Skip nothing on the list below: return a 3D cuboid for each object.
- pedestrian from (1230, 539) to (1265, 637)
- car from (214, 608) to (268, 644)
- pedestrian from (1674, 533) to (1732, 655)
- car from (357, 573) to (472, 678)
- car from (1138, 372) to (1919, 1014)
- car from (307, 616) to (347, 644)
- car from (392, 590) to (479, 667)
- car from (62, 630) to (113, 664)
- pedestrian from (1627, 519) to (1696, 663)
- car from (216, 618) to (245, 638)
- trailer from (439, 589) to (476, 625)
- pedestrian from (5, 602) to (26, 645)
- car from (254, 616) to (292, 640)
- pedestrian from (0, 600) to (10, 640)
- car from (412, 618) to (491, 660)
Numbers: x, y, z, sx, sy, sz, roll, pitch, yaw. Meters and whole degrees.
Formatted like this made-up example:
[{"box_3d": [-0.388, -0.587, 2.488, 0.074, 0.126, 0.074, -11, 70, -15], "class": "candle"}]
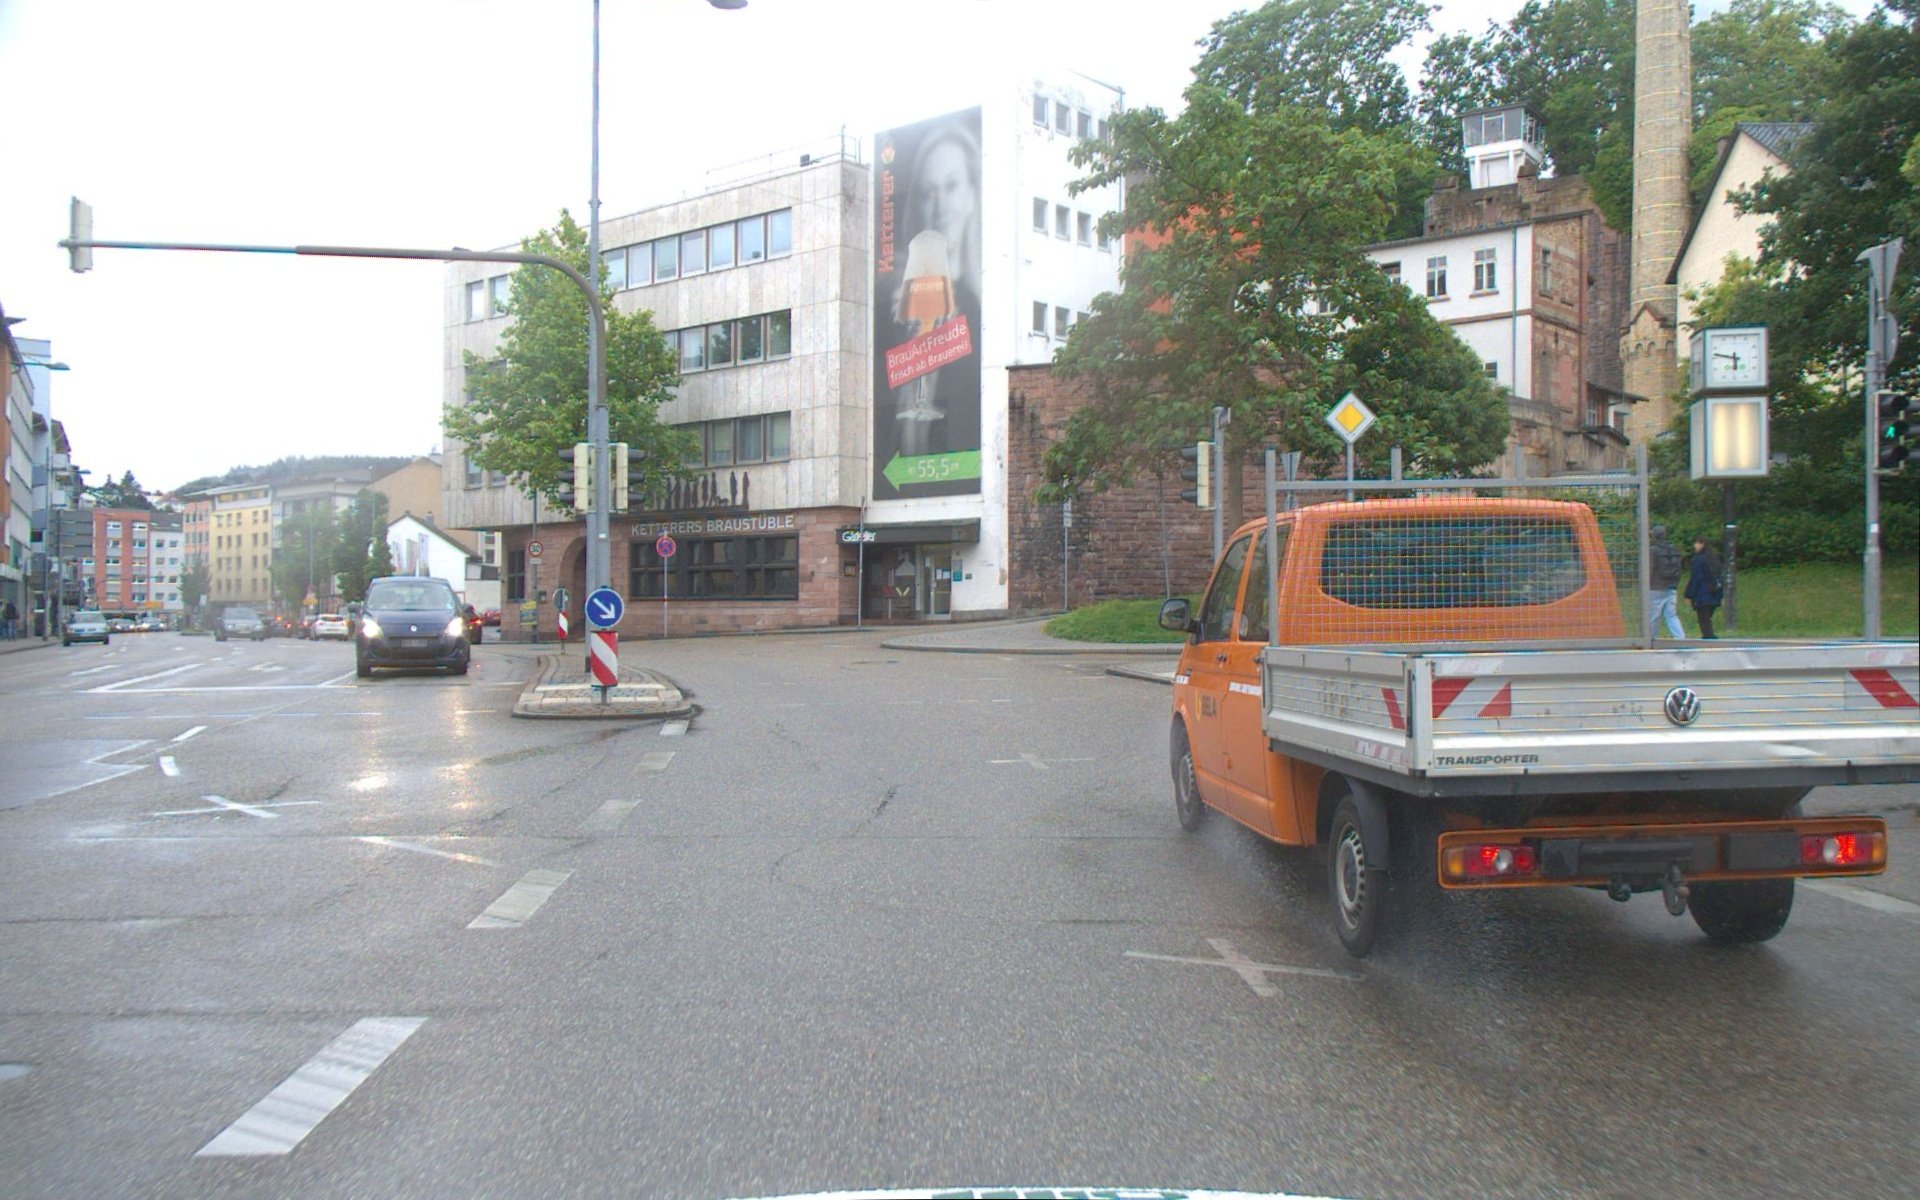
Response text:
[{"box_3d": [5.434, -0.211, 31.278, 0.584, 1.812, 0.657, 2, -2, 12], "class": "pedestrian"}, {"box_3d": [-31.153, 1.131, 71.595, 1.714, 1.465, 4.369, -1, -1, -29], "class": "car"}, {"box_3d": [10.840, -0.094, 24.138, 0.546, 1.735, 0.528, -2, 1, -8], "class": "pedestrian"}, {"box_3d": [-9.447, 0.387, 28.459, 1.730, 1.642, 4.186, -1, 1, -20], "class": "car"}, {"box_3d": [2.391, 0.362, 8.339, 2.060, 2.126, 5.537, 1, -1, -3], "class": "car"}, {"box_3d": [-34.692, 1.638, 90.619, 1.645, 1.420, 3.832, 0, 0, -27], "class": "car"}, {"box_3d": [-10.798, 0.538, 33.928, 1.533, 1.422, 3.706, -2, 1, -20], "class": "car"}, {"box_3d": [-37.104, 2.001, 70.417, 1.707, 1.390, 4.076, 0, -2, -25], "class": "car"}, {"box_3d": [10.182, -0.128, 24.008, 0.772, 2.048, 0.586, -1, 1, 38], "class": "pedestrian"}, {"box_3d": [-58.823, 2.247, 133.336, 1.929, 1.420, 3.833, 0, 1, -27], "class": "car"}, {"box_3d": [-39.981, 0.536, 131.448, 2.100, 2.763, 5.349, -2, 0, -24], "class": "trailer"}, {"box_3d": [-40.802, 1.008, 71.454, 0.568, 1.820, 0.819, 5, -4, -26], "class": "pedestrian"}, {"box_3d": [-42.833, 1.729, 103.036, 1.648, 1.420, 3.826, 0, 1, -31], "class": "car"}, {"box_3d": [-41.391, 0.853, 71.283, 0.623, 1.705, 0.900, 5, -4, -27], "class": "pedestrian"}, {"box_3d": [-18.725, 1.406, 60.808, 1.771, 1.427, 4.586, -1, 0, -30], "class": "car"}]
